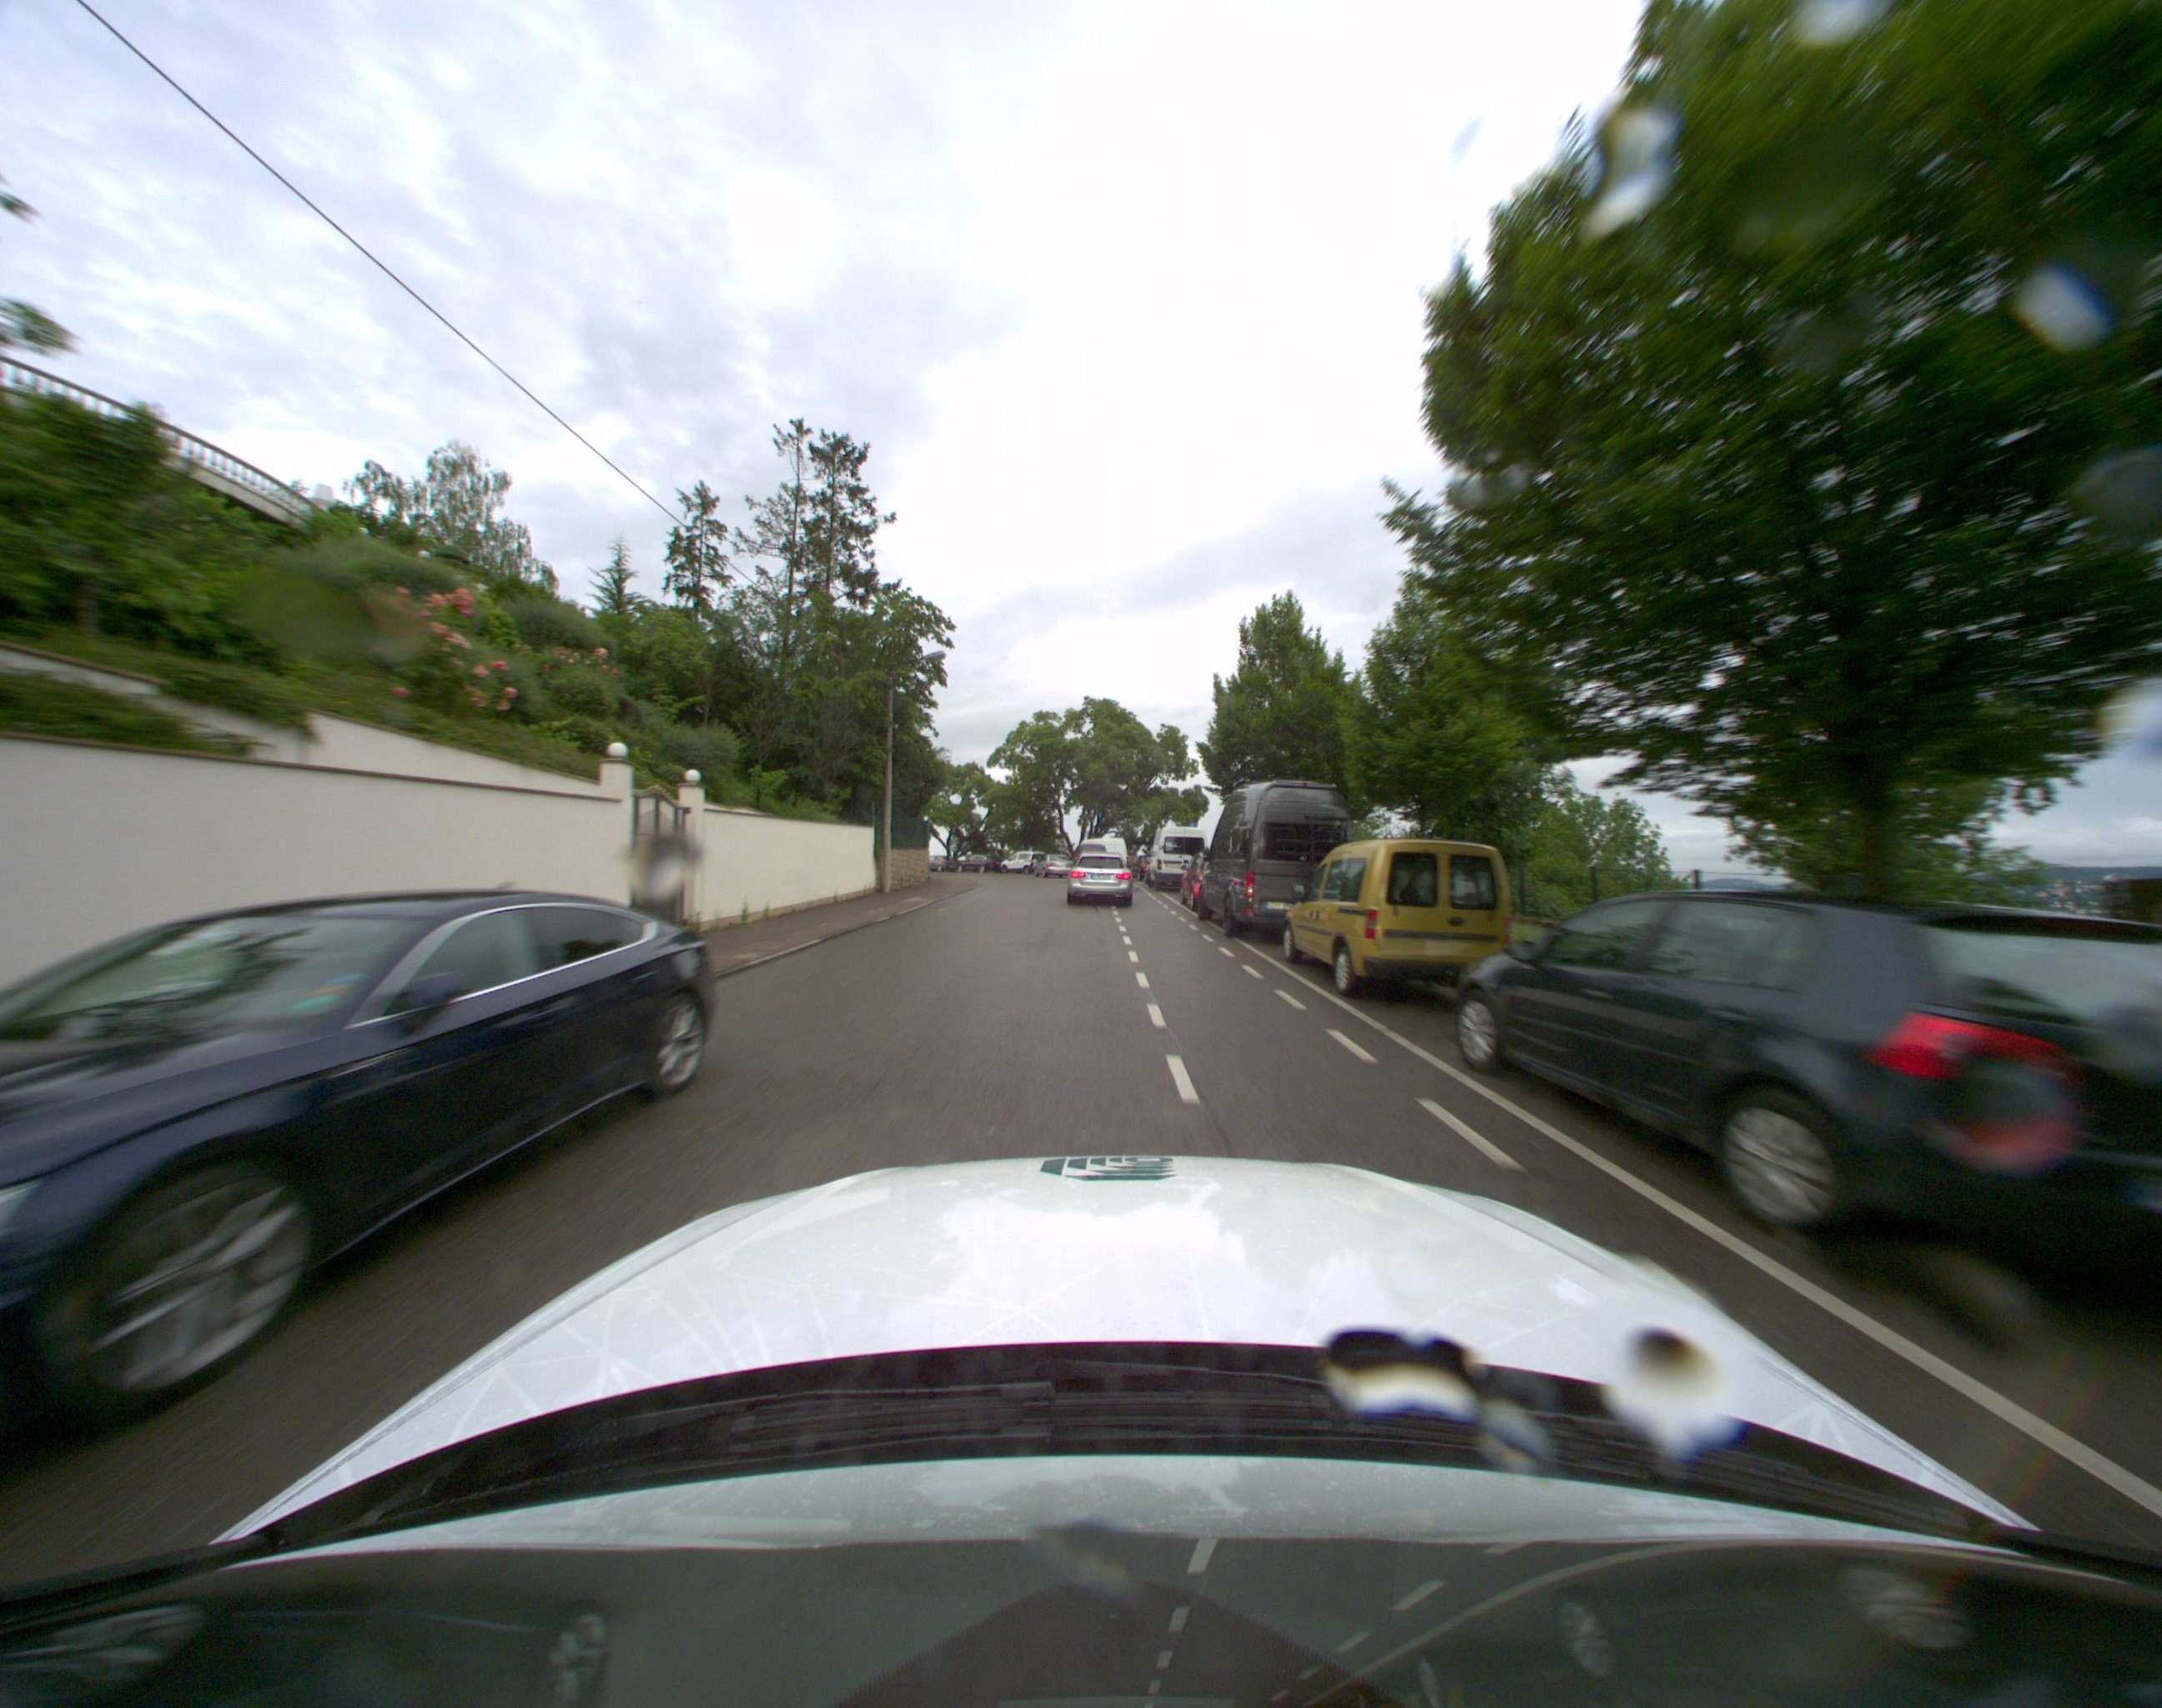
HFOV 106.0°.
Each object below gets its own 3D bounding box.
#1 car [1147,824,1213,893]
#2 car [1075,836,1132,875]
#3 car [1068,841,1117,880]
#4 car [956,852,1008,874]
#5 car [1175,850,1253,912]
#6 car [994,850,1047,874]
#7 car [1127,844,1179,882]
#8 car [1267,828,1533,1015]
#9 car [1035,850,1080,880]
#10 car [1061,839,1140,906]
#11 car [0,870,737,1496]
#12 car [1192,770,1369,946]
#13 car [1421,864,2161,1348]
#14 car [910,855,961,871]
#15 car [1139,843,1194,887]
[{"bbox_3d":[3.854,0.155,32.493,2.057,2.494,4.761,2,0,1],"label":"car"},{"bbox_3d":[1.513,0.048,55.640,2.135,2.527,4.462,2,0,-24],"label":"car"},{"bbox_3d":[0.509,0.322,39.310,1.990,1.708,3.993,1,-1,-4],"label":"car"},{"bbox_3d":[-8.475,0.737,69.550,1.982,1.697,4.613,2,0,-45],"label":"car"},{"bbox_3d":[3.656,0.698,22.856,1.578,1.527,3.586,2,0,0],"label":"car"},{"bbox_3d":[-4.940,0.643,66.021,1.980,1.697,4.445,2,0,-39],"label":"car"},{"bbox_3d":[4.010,0.456,46.262,2.061,1.960,4.487,2,0,-6],"label":"car"},{"bbox_3d":[3.724,0.674,10.393,1.721,1.785,4.277,4,0,1],"label":"car"},{"bbox_3d":[-1.471,0.646,49.677,1.995,1.708,3.983,1,-1,-12],"label":"car"},{"bbox_3d":[0.537,0.462,23.340,2.018,1.708,4.216,1,0,0],"label":"car"},{"bbox_3d":[-3.420,0.841,3.736,1.743,1.357,4.425,-2,0,0],"label":"car"},{"bbox_3d":[3.732,0.045,16.522,2.117,2.887,5.769,2,0,0],"label":"car"},{"bbox_3d":[3.715,0.872,4.750,1.666,1.458,4.224,3,0,0],"label":"car"},{"bbox_3d":[-13.119,0.817,73.194,4.438,1.401,1.983,-1,0,36],"label":"car"},{"bbox_3d":[4.068,0.476,39.397,2.058,1.960,4.495,2,0,-1],"label":"car"}]
